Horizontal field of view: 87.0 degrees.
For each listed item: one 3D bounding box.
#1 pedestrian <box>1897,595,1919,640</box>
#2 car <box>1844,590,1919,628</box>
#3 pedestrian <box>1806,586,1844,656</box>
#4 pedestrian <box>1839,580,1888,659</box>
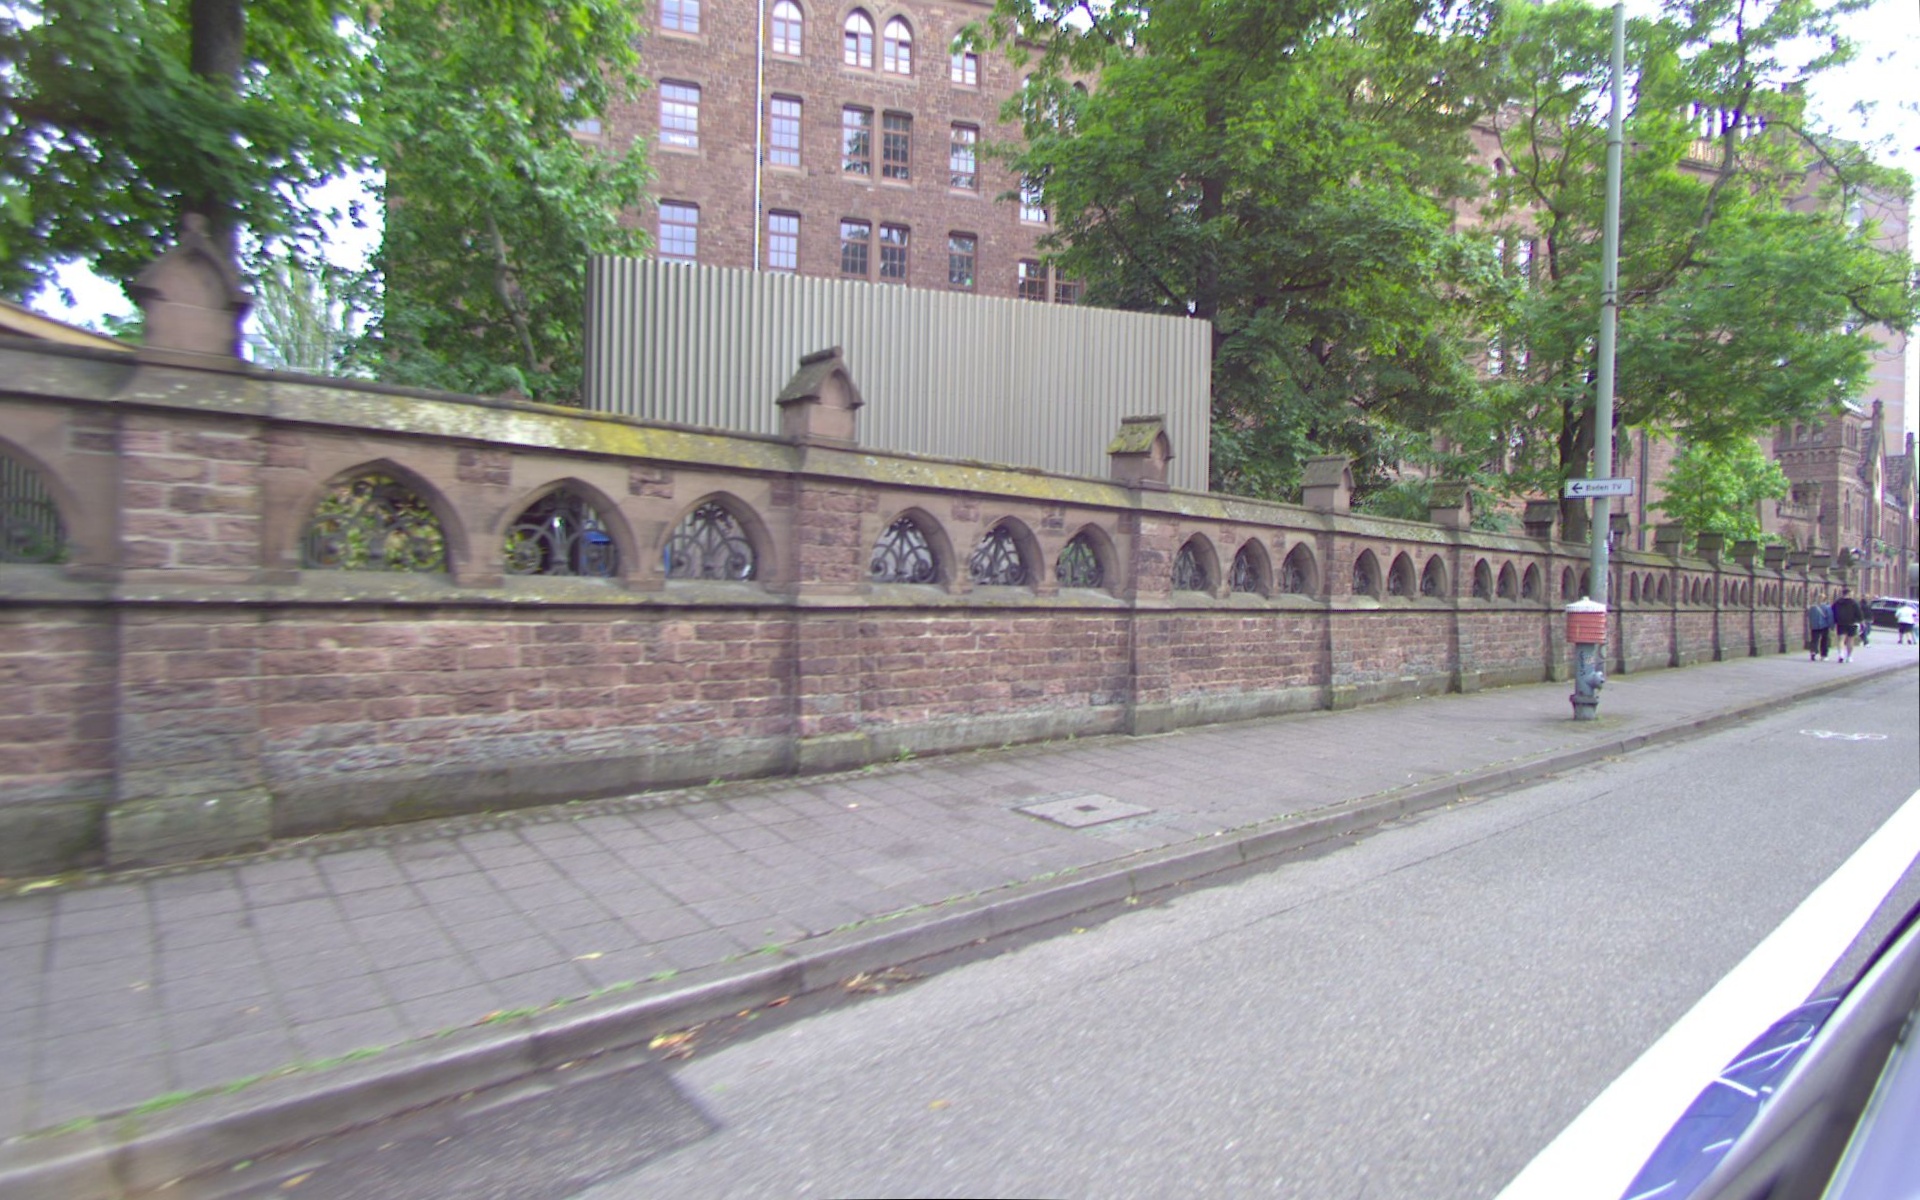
[{"bbox_3d":[38.454,0.696,40.910,0.981,1.733,0.669,0,5,-43],"label":"pedestrian"},{"bbox_3d":[47.891,0.514,51.372,1.959,1.637,4.009,1,5,-29],"label":"car"},{"bbox_3d":[21.580,0.515,25.252,0.759,1.675,0.558,1,3,-43],"label":"pedestrian"},{"bbox_3d":[22.140,0.454,24.804,0.883,1.867,0.722,0,3,-43],"label":"pedestrian"}]
